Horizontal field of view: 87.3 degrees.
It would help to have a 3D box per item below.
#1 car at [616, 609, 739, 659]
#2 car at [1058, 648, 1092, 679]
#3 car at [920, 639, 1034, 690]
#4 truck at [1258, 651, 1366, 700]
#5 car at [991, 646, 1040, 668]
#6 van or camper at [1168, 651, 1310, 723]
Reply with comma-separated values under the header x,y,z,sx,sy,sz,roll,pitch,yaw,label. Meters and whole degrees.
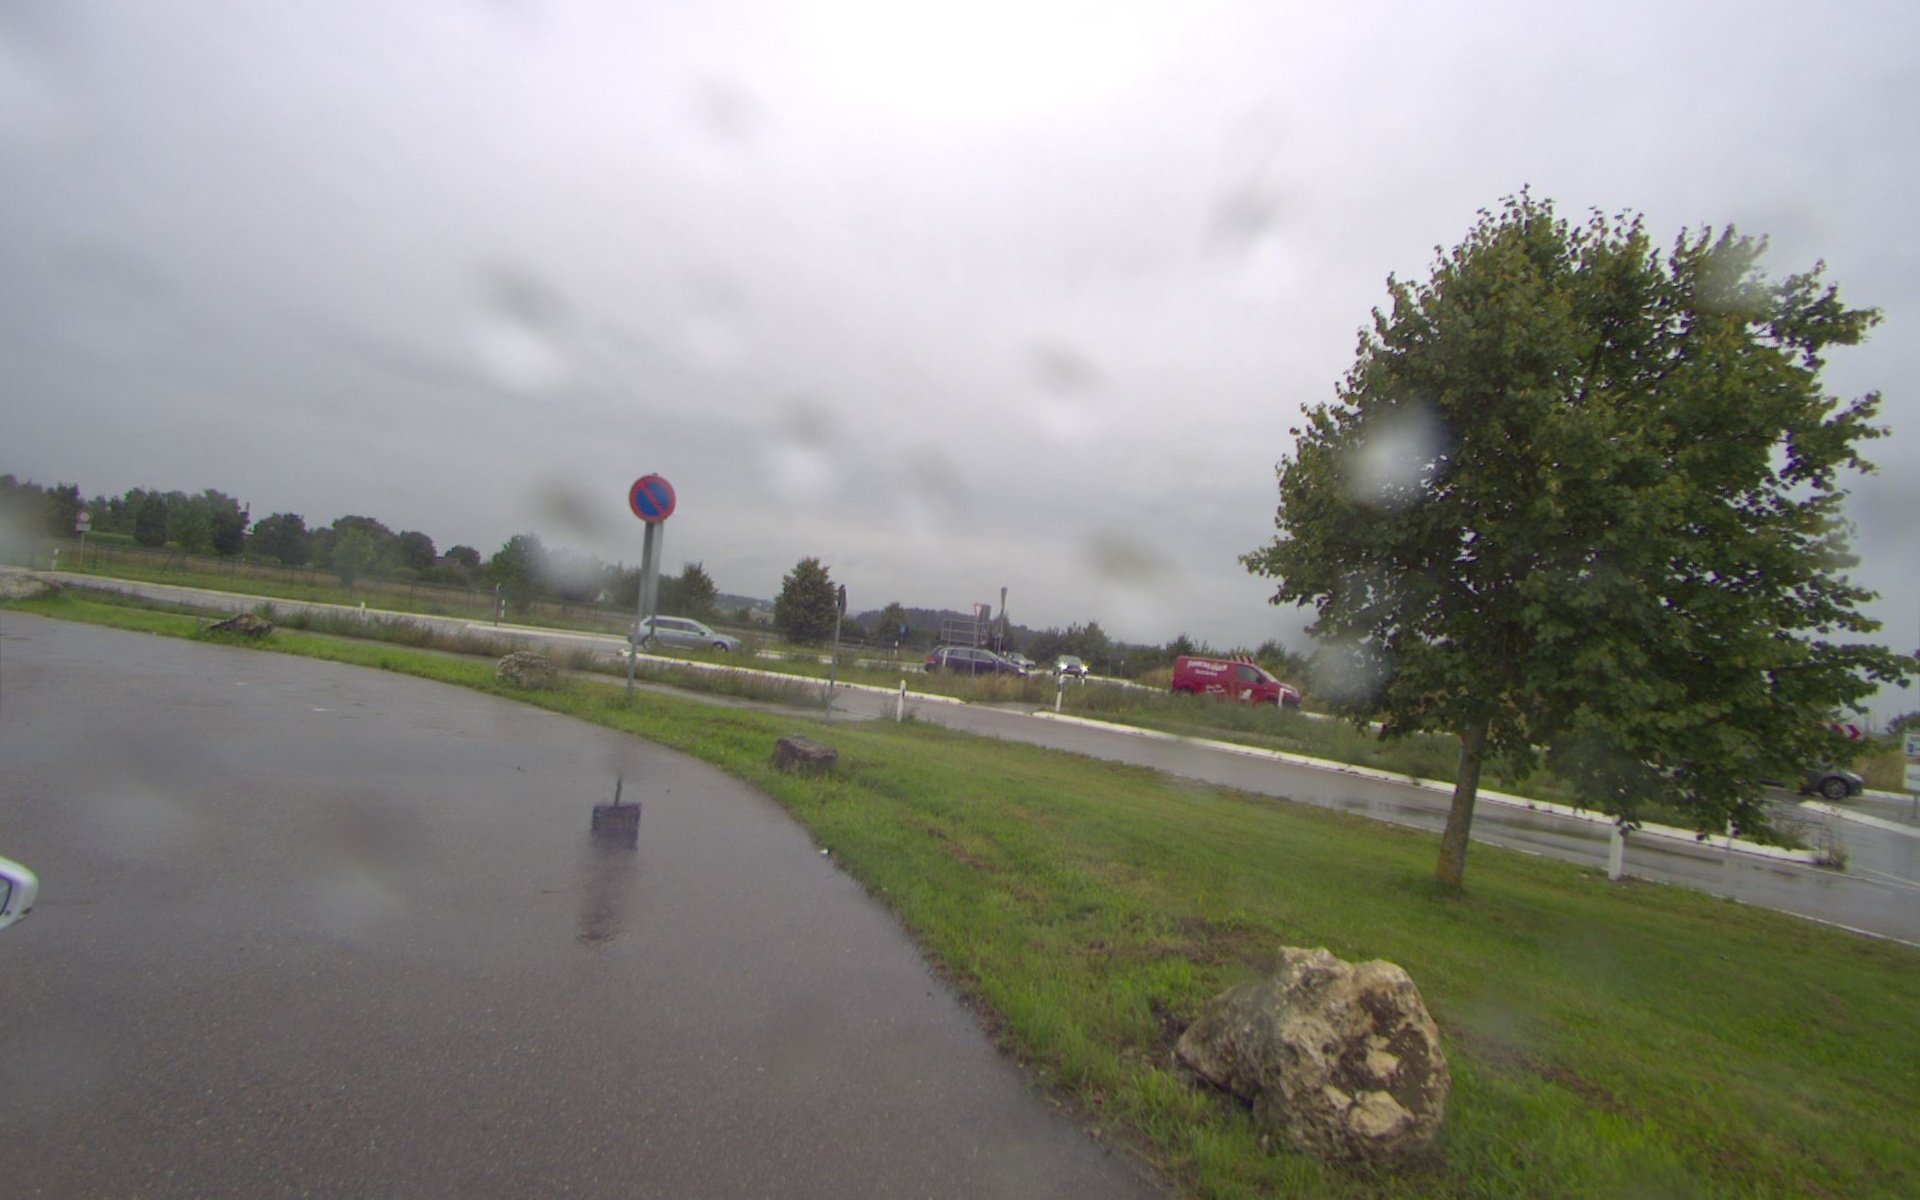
x,y,z,sx,sy,sz,roll,pitch,yaw,label
-11.819,1.434,42.376,4.581,1.500,1.998,7,0,-7,car
7.898,4.368,69.699,1.856,1.705,4.671,5,0,2,car
0.773,2.736,42.777,4.437,1.621,2.003,6,-3,11,car
28.063,5.998,80.396,7.642,2.941,2.187,7,-2,7,truck
4.592,4.718,83.392,1.739,1.341,4.270,5,0,-35,car
10.679,3.280,38.566,4.763,2.039,1.997,6,1,28,van or camper
